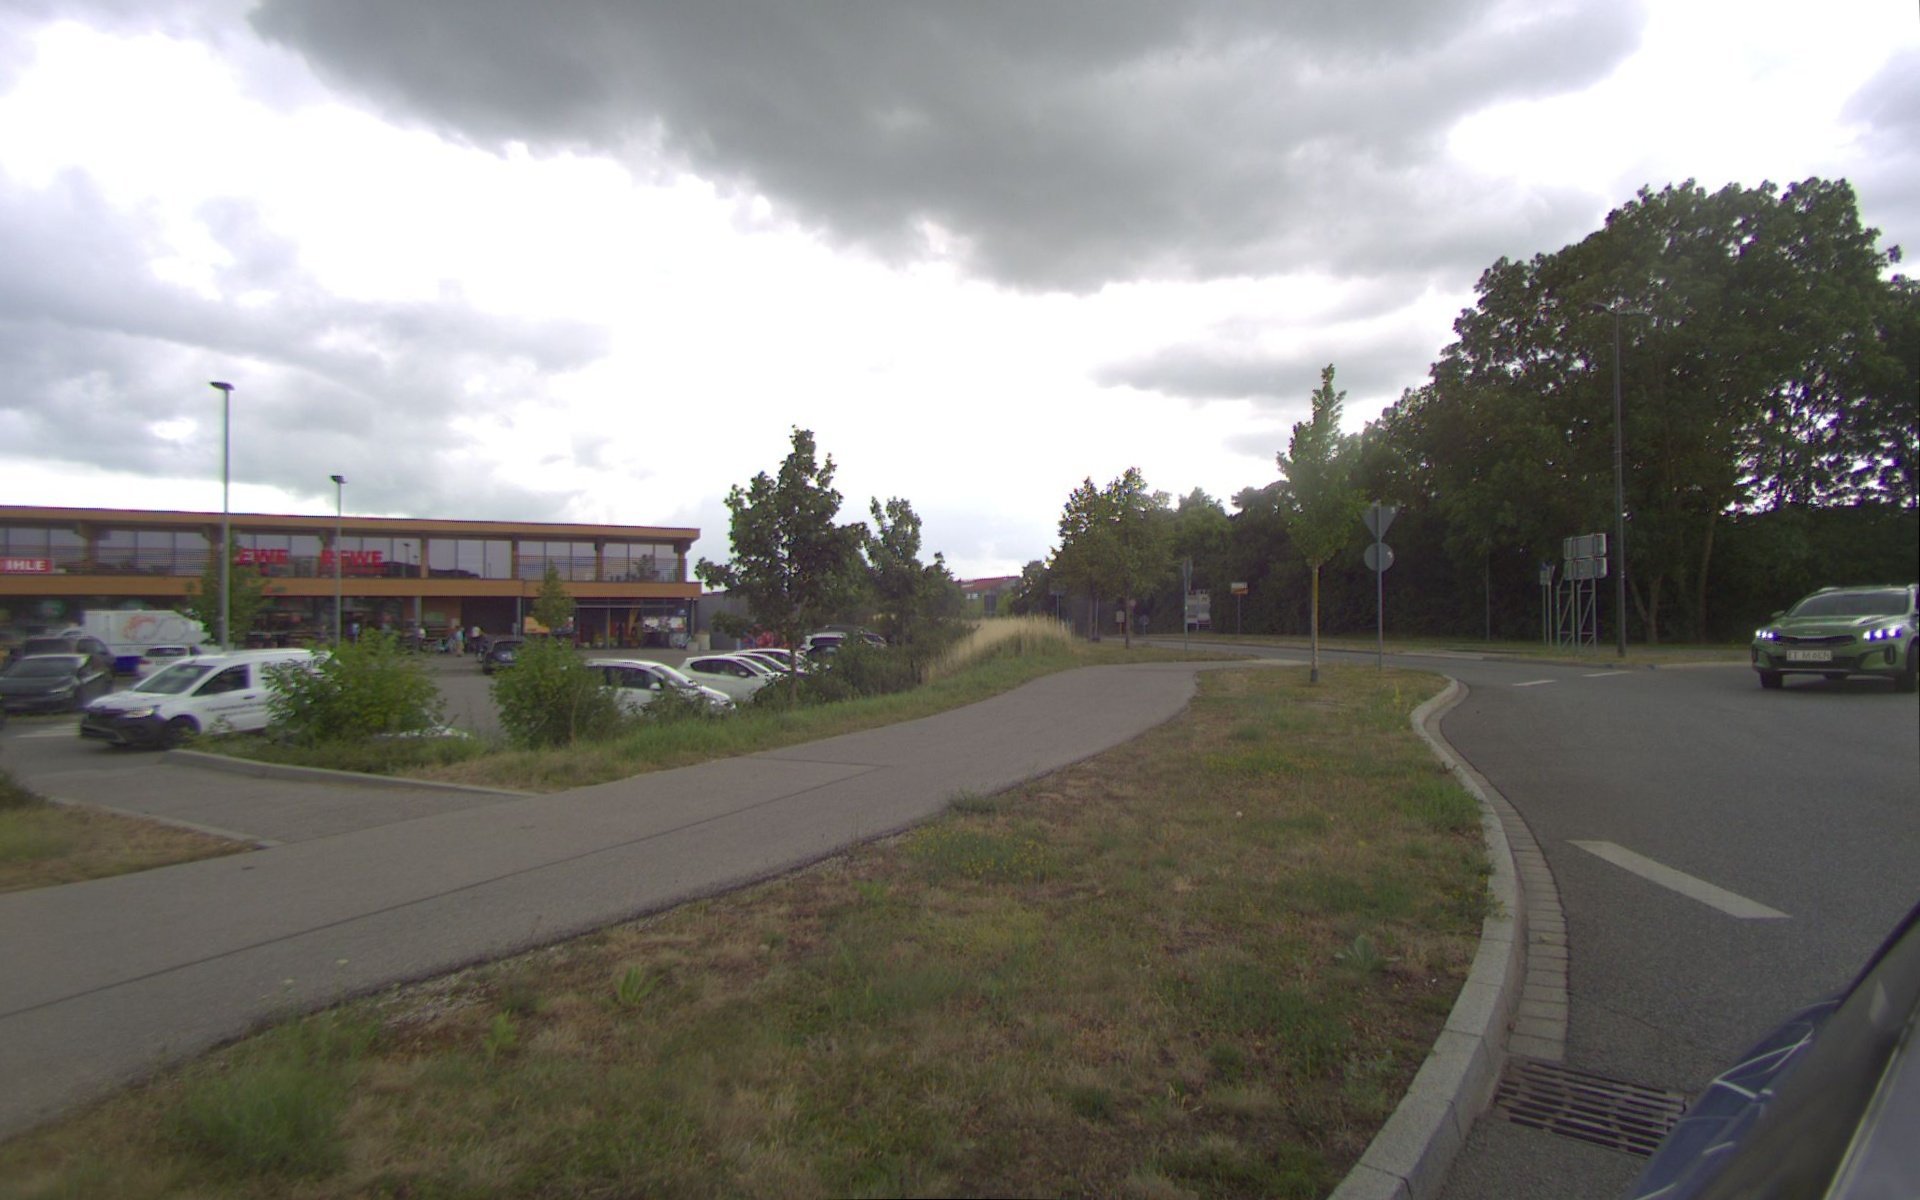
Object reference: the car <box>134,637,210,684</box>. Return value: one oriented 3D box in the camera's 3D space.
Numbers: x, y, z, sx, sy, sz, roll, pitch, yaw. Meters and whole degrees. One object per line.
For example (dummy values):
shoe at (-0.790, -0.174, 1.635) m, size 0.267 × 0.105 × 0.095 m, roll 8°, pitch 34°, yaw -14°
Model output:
car at (-29.761, 2.229, 38.339) m, size 1.697 × 1.549 × 4.003 m, roll 0°, pitch 0°, yaw -30°

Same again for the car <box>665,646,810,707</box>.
car at (-6.466, 2.218, 29.798) m, size 3.920 × 1.527 × 2.002 m, roll -2°, pitch 0°, yaw -5°

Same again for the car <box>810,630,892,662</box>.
car at (-5.474, 2.298, 50.851) m, size 3.822 × 1.483 × 1.694 m, roll -1°, pitch -1°, yaw 7°

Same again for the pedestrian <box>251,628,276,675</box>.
pedestrian at (-31.240, 2.303, 45.396) m, size 0.914 × 2.039 × 0.806 m, roll 0°, pitch -1°, yaw -32°

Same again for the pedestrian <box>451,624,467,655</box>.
pedestrian at (-27.783, 2.197, 56.097) m, size 0.788 × 1.678 × 0.751 m, roll 0°, pitch -1°, yaw -26°

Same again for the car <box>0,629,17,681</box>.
car at (-35.448, 2.022, 35.893) m, size 1.736 × 1.878 × 4.006 m, roll -1°, pitch -1°, yaw -25°

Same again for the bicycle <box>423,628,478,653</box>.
bicycle at (-29.122, 2.307, 57.923) m, size 2.811 × 1.326 × 0.981 m, roll -1°, pitch -1°, yaw -26°

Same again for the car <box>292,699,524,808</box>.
car at (-8.958, 2.396, 16.364) m, size 3.697 × 1.390 × 1.565 m, roll -2°, pitch -1°, yaw 29°

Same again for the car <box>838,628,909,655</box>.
car at (-4.941, 2.366, 57.887) m, size 3.822 × 1.483 × 1.694 m, roll -1°, pitch -1°, yaw 7°

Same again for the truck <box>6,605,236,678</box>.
truck at (-35.461, 1.660, 43.180) m, size 7.112 × 2.843 × 2.979 m, roll 0°, pitch -1°, yaw -29°

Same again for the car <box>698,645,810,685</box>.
car at (-7.220, 2.277, 35.576) m, size 3.613 × 1.311 × 1.413 m, roll -1°, pitch 0°, yaw 7°

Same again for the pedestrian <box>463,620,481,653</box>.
pedestrian at (-28.862, 2.178, 59.888) m, size 0.910 × 1.923 × 0.794 m, roll 0°, pitch -4°, yaw -29°

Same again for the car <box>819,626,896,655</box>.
car at (-5.453, 2.143, 53.999) m, size 3.822 × 1.483 × 1.694 m, roll -1°, pitch -1°, yaw 7°

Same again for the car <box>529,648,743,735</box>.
car at (-7.402, 2.069, 23.387) m, size 4.362 × 1.694 × 1.799 m, roll 2°, pitch 0°, yaw 2°

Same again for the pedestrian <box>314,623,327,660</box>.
pedestrian at (-34.573, 2.224, 54.738) m, size 0.514 × 1.974 × 0.579 m, roll 0°, pitch -1°, yaw -25°

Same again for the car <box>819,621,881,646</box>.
car at (-7.065, 2.144, 64.801) m, size 3.918 × 1.462 × 1.887 m, roll -1°, pitch -1°, yaw -8°

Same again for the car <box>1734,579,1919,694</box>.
car at (14.047, 0.489, 15.397) m, size 4.784 × 1.522 × 1.927 m, roll -1°, pitch -2°, yaw -31°

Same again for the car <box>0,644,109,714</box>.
car at (-24.190, 2.032, 26.908) m, size 1.697 × 1.573 × 4.003 m, roll 0°, pitch -1°, yaw -30°

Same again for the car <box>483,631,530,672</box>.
car at (-19.373, 2.154, 43.124) m, size 1.680 × 1.588 × 3.675 m, roll 0°, pitch -1°, yaw -27°

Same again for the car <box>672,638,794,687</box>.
car at (-7.100, 1.943, 31.925) m, size 3.601 × 1.311 × 1.718 m, roll -1°, pitch 0°, yaw -7°

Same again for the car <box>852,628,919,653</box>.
car at (-4.558, 2.476, 62.010) m, size 3.822 × 1.483 × 1.694 m, roll -1°, pitch -1°, yaw 7°

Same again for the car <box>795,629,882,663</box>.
car at (-5.699, 2.163, 47.745) m, size 3.822 × 1.483 × 1.694 m, roll -1°, pitch -1°, yaw 7°

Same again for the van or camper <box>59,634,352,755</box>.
van or camper at (-15.583, 1.830, 21.283) m, size 1.742 × 2.125 × 4.776 m, roll 1°, pitch -1°, yaw 18°

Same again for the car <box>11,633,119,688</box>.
car at (-32.369, 2.147, 36.738) m, size 1.814 × 1.747 × 4.126 m, roll -2°, pitch 0°, yaw -25°

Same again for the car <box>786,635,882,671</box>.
car at (-5.426, 2.279, 43.707) m, size 3.822 × 1.483 × 1.694 m, roll -1°, pitch -1°, yaw 7°
